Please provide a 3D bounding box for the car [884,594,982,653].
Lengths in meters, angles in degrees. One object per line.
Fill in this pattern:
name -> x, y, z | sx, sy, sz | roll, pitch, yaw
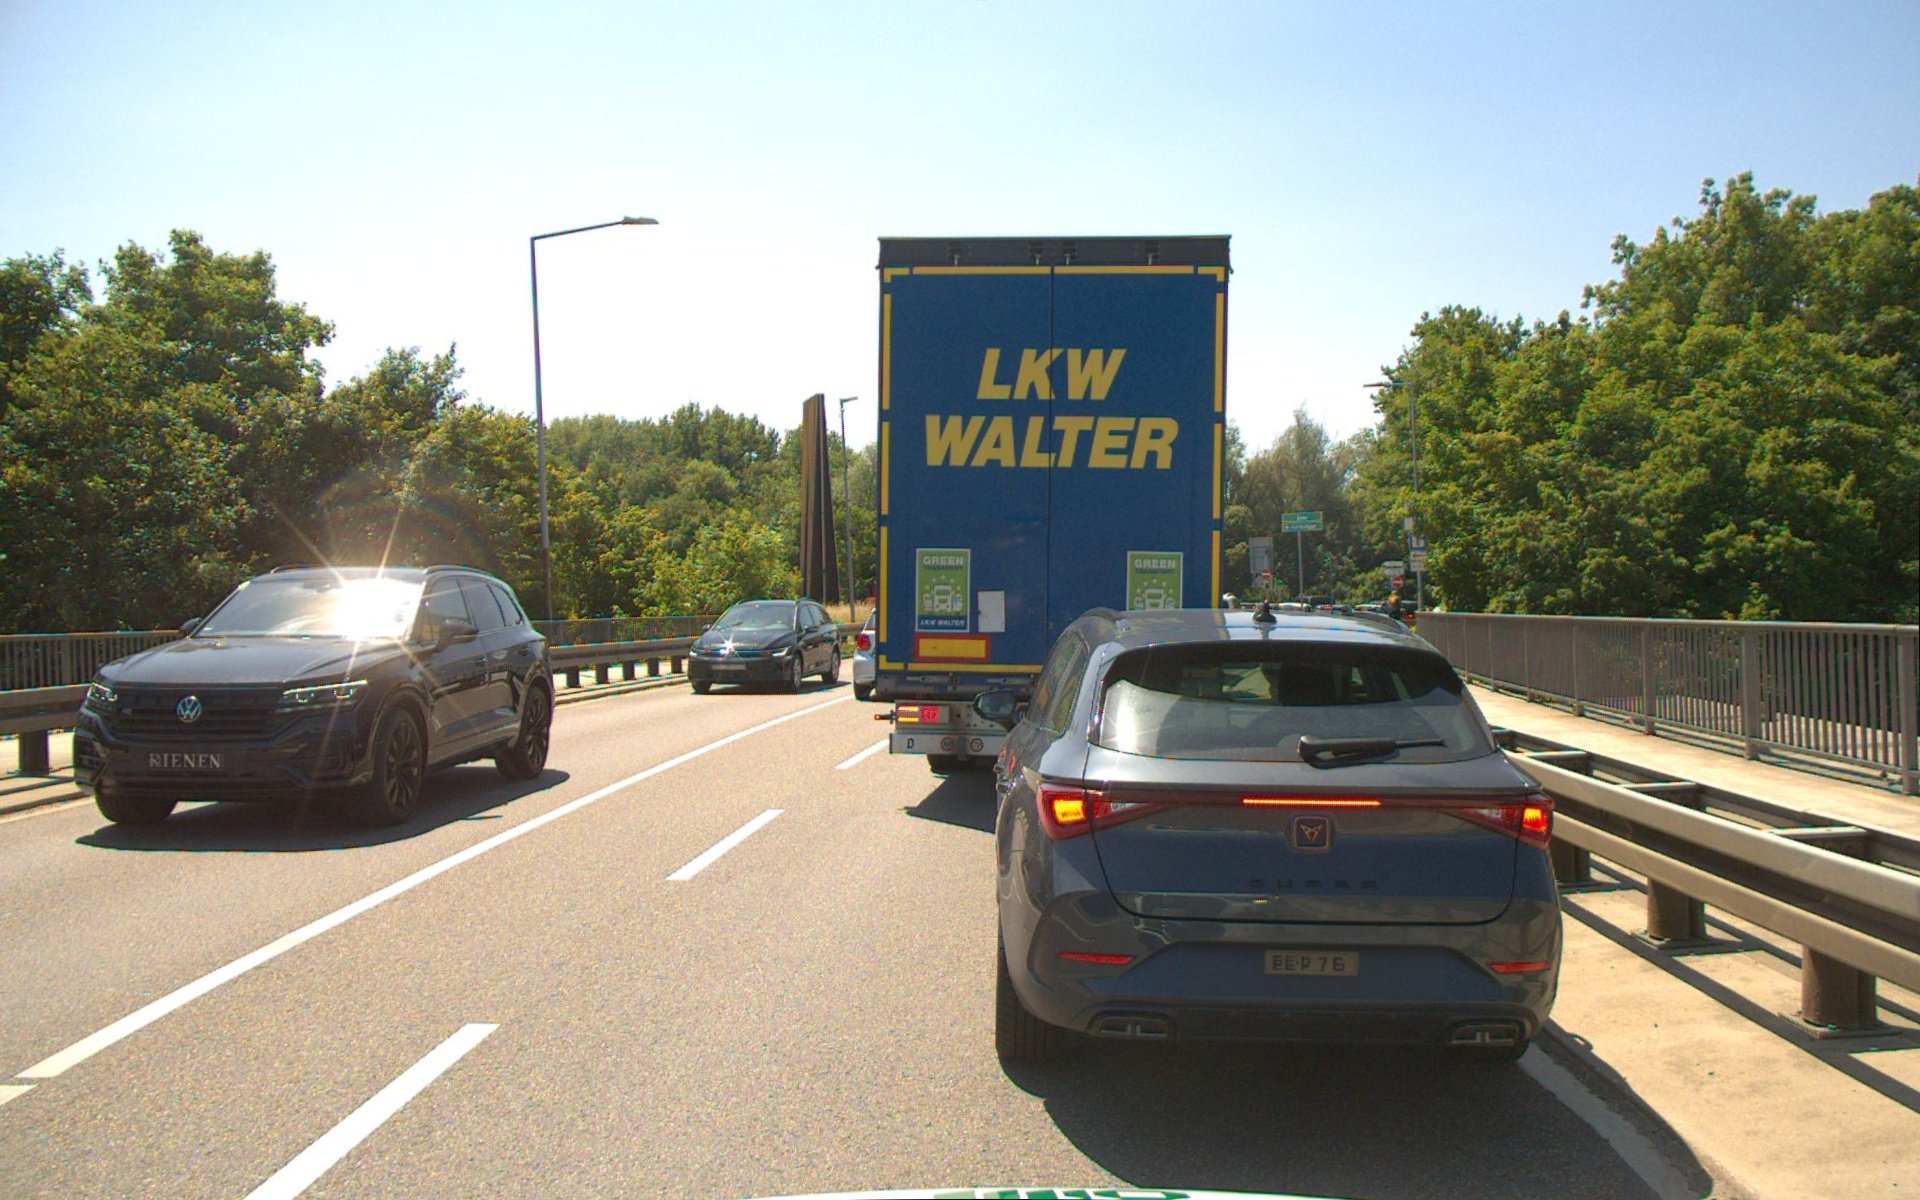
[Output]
car -> -0.660, 0.597, 43.482 | 1.565, 1.474, 4.059 | 0, 0, 14

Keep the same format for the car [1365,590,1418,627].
car -> 21.135, 0.428, 80.913 | 1.653, 1.791, 3.994 | 0, -1, 28

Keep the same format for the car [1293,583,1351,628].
car -> 15.041, 0.250, 68.625 | 1.651, 1.791, 3.999 | 0, -1, 23

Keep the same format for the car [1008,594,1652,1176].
car -> 1.002, 0.724, 6.220 | 1.642, 1.481, 3.959 | 0, 0, 2

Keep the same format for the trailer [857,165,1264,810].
trailer -> 1.437, -0.827, 17.862 | 2.843, 4.496, 12.442 | 0, 0, 7

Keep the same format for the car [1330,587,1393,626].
car -> 18.226, 0.296, 74.958 | 1.954, 1.603, 3.996 | 2, -1, 26

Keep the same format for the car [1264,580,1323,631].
car -> 12.524, 0.183, 61.940 | 1.685, 1.876, 4.002 | 0, 0, 18

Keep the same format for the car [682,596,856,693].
car -> -3.134, 0.689, 28.025 | 1.673, 1.494, 4.464 | 0, 0, 11

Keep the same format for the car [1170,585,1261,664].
car -> 6.430, 0.559, 41.347 | 1.684, 1.876, 4.002 | 0, 1, 17

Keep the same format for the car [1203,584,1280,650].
car -> 8.145, 0.453, 47.688 | 1.684, 1.834, 4.002 | 0, 0, 17

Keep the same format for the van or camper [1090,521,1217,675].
van or camper -> 4.081, -0.055, 33.942 | 2.108, 2.865, 6.393 | 0, 0, 11

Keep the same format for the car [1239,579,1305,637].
car -> 10.542, 0.230, 55.766 | 1.685, 1.876, 4.002 | 0, 0, 18

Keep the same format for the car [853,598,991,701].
car -> -0.521, 0.718, 26.011 | 1.641, 1.436, 3.978 | -1, 0, 6

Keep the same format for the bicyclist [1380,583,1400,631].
bicyclist -> 15.663, 0.254, 60.207 | 0.565, 1.712, 0.730 | -3, 0, 9

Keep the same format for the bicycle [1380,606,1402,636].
bicycle -> 15.687, 0.747, 60.207 | 0.569, 1.053, 1.486 | -3, 0, 9

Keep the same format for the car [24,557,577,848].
car -> -4.420, 0.602, 12.031 | 1.925, 1.702, 4.616 | 0, 0, 4

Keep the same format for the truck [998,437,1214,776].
truck -> 2.345, 0.064, 25.351 | 2.843, 4.496, 6.560 | 0, 0, 7
